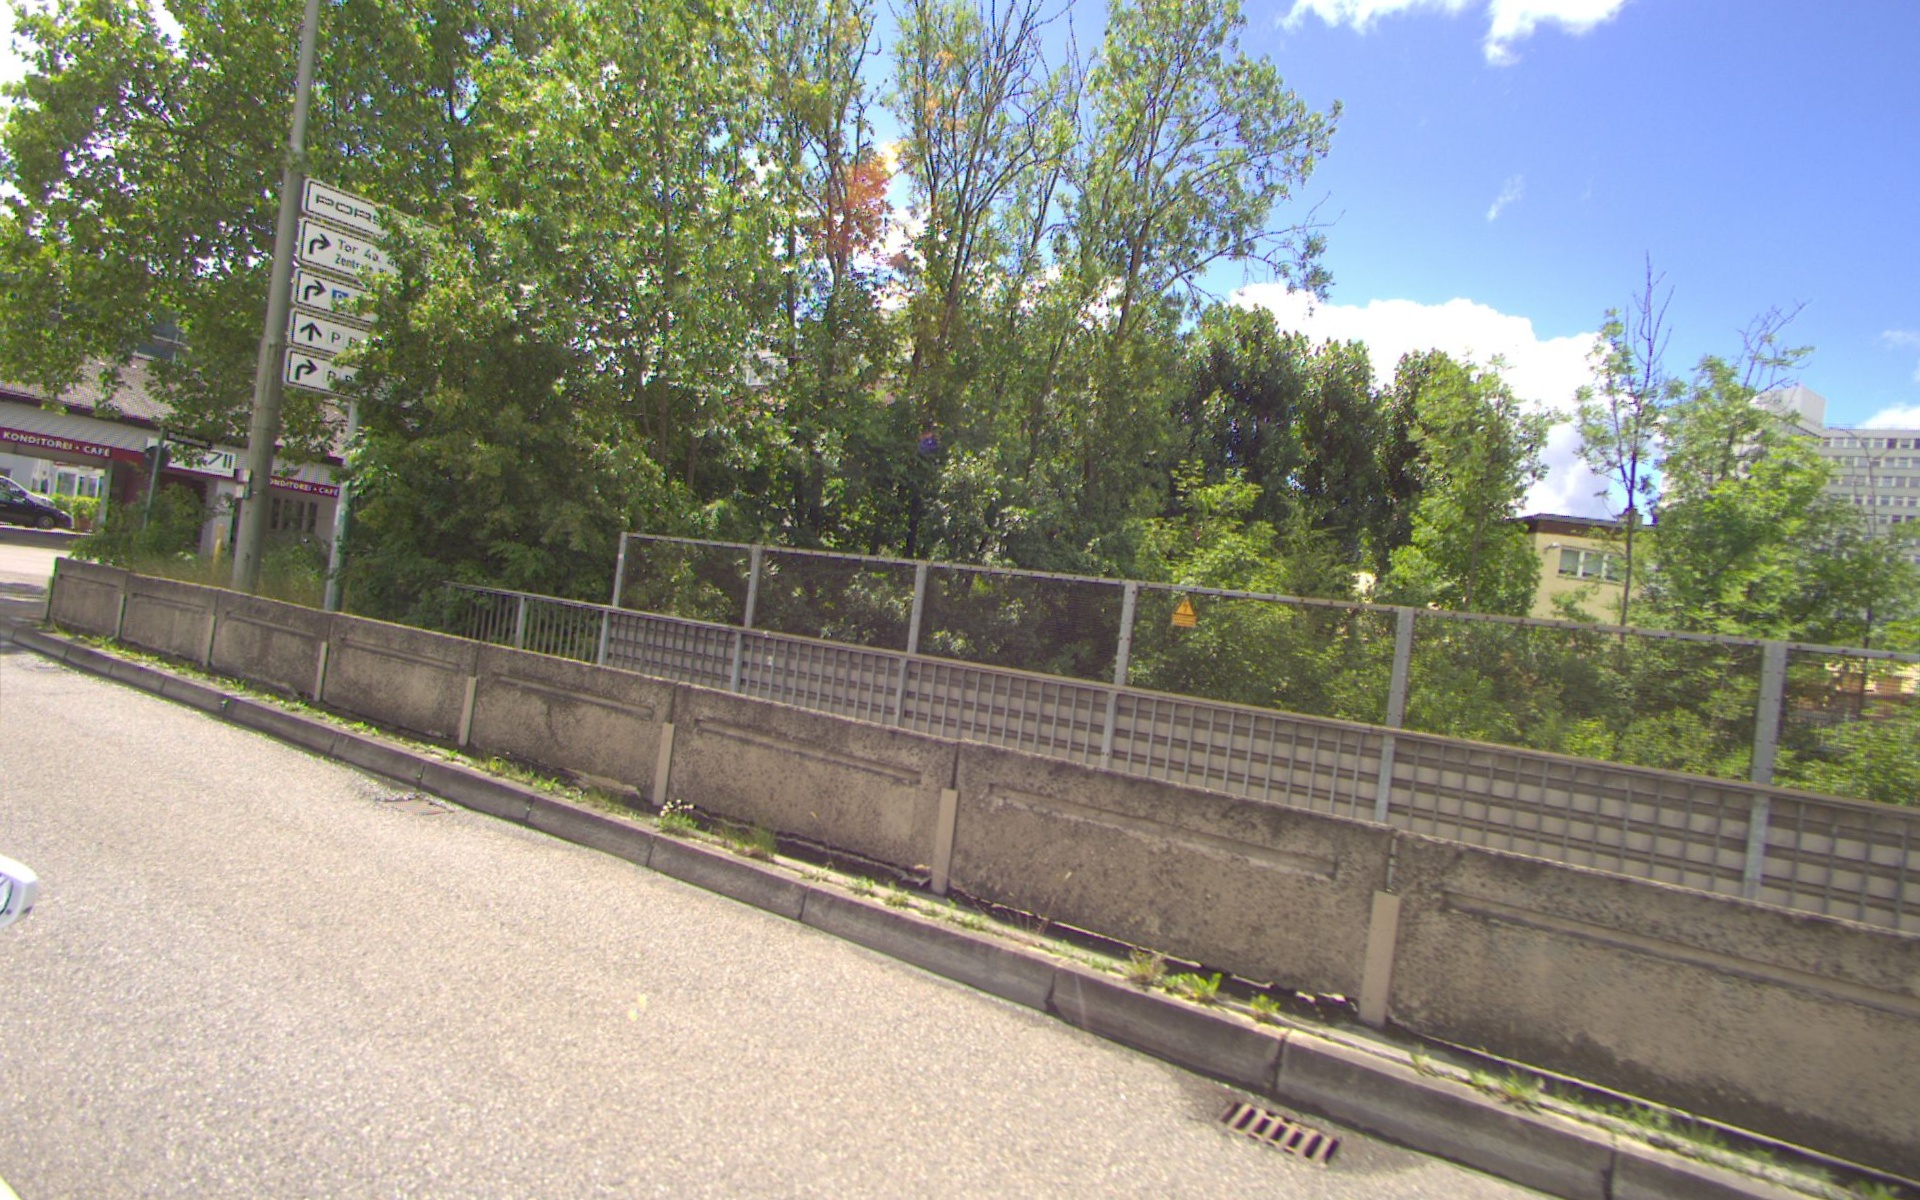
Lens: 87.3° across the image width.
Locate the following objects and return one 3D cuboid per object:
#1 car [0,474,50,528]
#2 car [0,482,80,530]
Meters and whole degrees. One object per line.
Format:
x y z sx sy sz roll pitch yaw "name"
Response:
-39.039 -4.092 39.662 1.996 1.961 4.232 6 1 33 "car"
-36.466 -3.678 38.131 1.816 1.532 4.302 6 0 32 "car"
